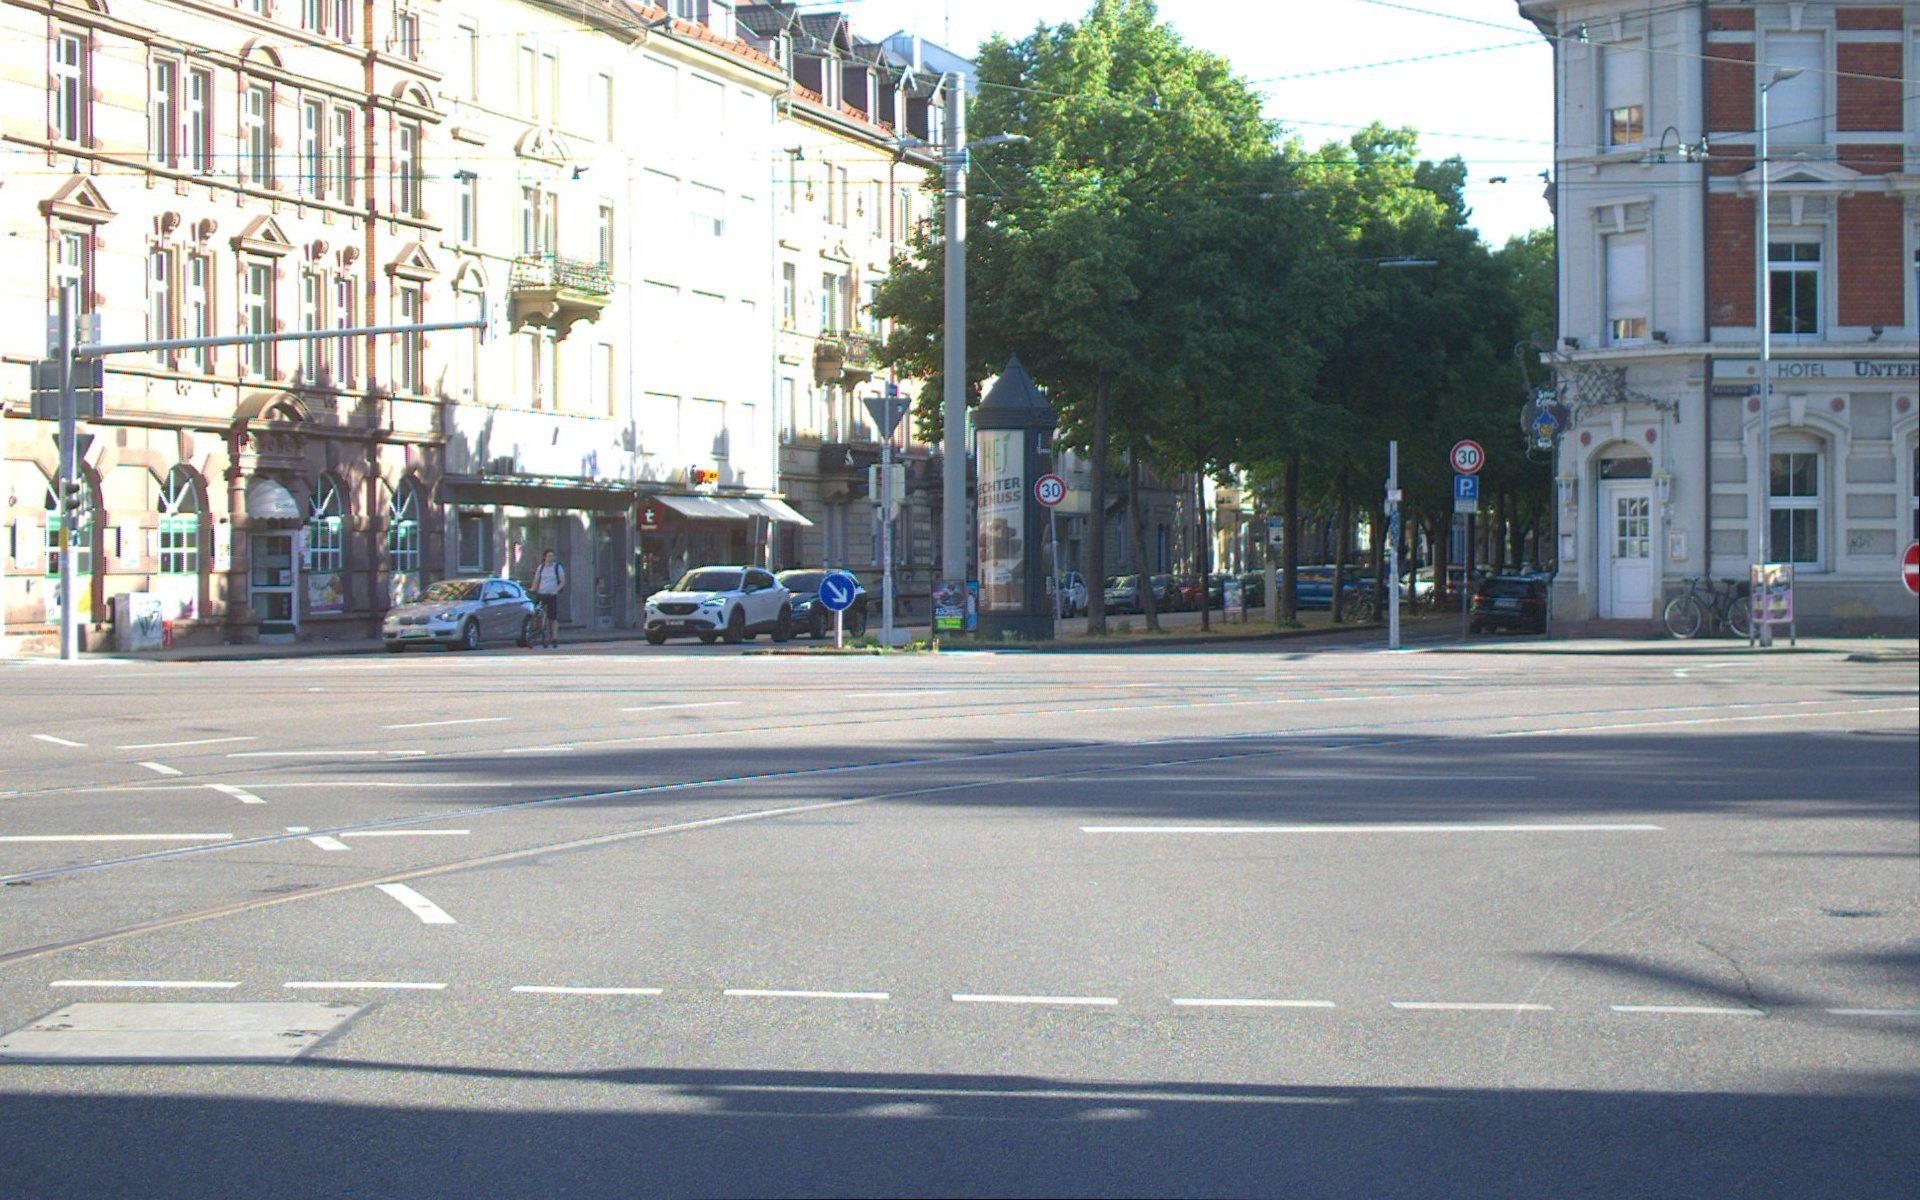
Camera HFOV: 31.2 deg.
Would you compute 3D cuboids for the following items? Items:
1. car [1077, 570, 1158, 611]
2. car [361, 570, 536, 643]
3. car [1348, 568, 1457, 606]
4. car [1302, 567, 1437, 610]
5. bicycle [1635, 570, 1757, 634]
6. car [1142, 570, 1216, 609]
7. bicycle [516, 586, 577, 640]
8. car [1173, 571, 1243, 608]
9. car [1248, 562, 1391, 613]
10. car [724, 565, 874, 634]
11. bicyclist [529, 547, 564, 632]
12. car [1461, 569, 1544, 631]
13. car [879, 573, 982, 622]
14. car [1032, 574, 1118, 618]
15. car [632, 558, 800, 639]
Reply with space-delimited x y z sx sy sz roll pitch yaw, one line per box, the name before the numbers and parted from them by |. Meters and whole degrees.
car | 5.648 -0.337 122.580 1.995 1.400 4.166 0 1 16
car | -9.931 0.102 67.045 1.995 1.357 3.816 0 1 16
car | 14.359 -0.427 111.467 3.435 1.235 1.576 0 1 11
car | 12.573 -0.346 105.394 3.989 1.284 1.694 0 1 11
bicycle | 12.266 0.025 57.343 1.953 1.050 0.715 0 1 10
car | 8.401 -0.414 131.408 1.995 1.400 4.166 0 1 16
bicycle | -7.851 0.232 65.301 0.655 0.997 1.664 1 1 12
car | 9.878 -0.446 136.605 1.995 1.400 4.166 0 1 16
car | 10.444 -0.360 99.686 3.989 1.450 1.681 0 1 11
car | -3.402 -0.040 73.645 1.995 1.400 4.166 0 1 16
bicyclist | -7.843 -0.202 65.195 0.489 1.596 0.666 0 1 10
car | 13.044 -0.024 82.530 1.756 1.415 3.998 0 1 12
car | -0.847 -0.090 102.091 1.995 1.400 4.166 0 1 16
car | 3.935 -0.148 116.861 1.995 1.400 4.166 0 1 16
car | -4.755 -0.053 67.471 1.995 1.511 4.166 0 1 16
